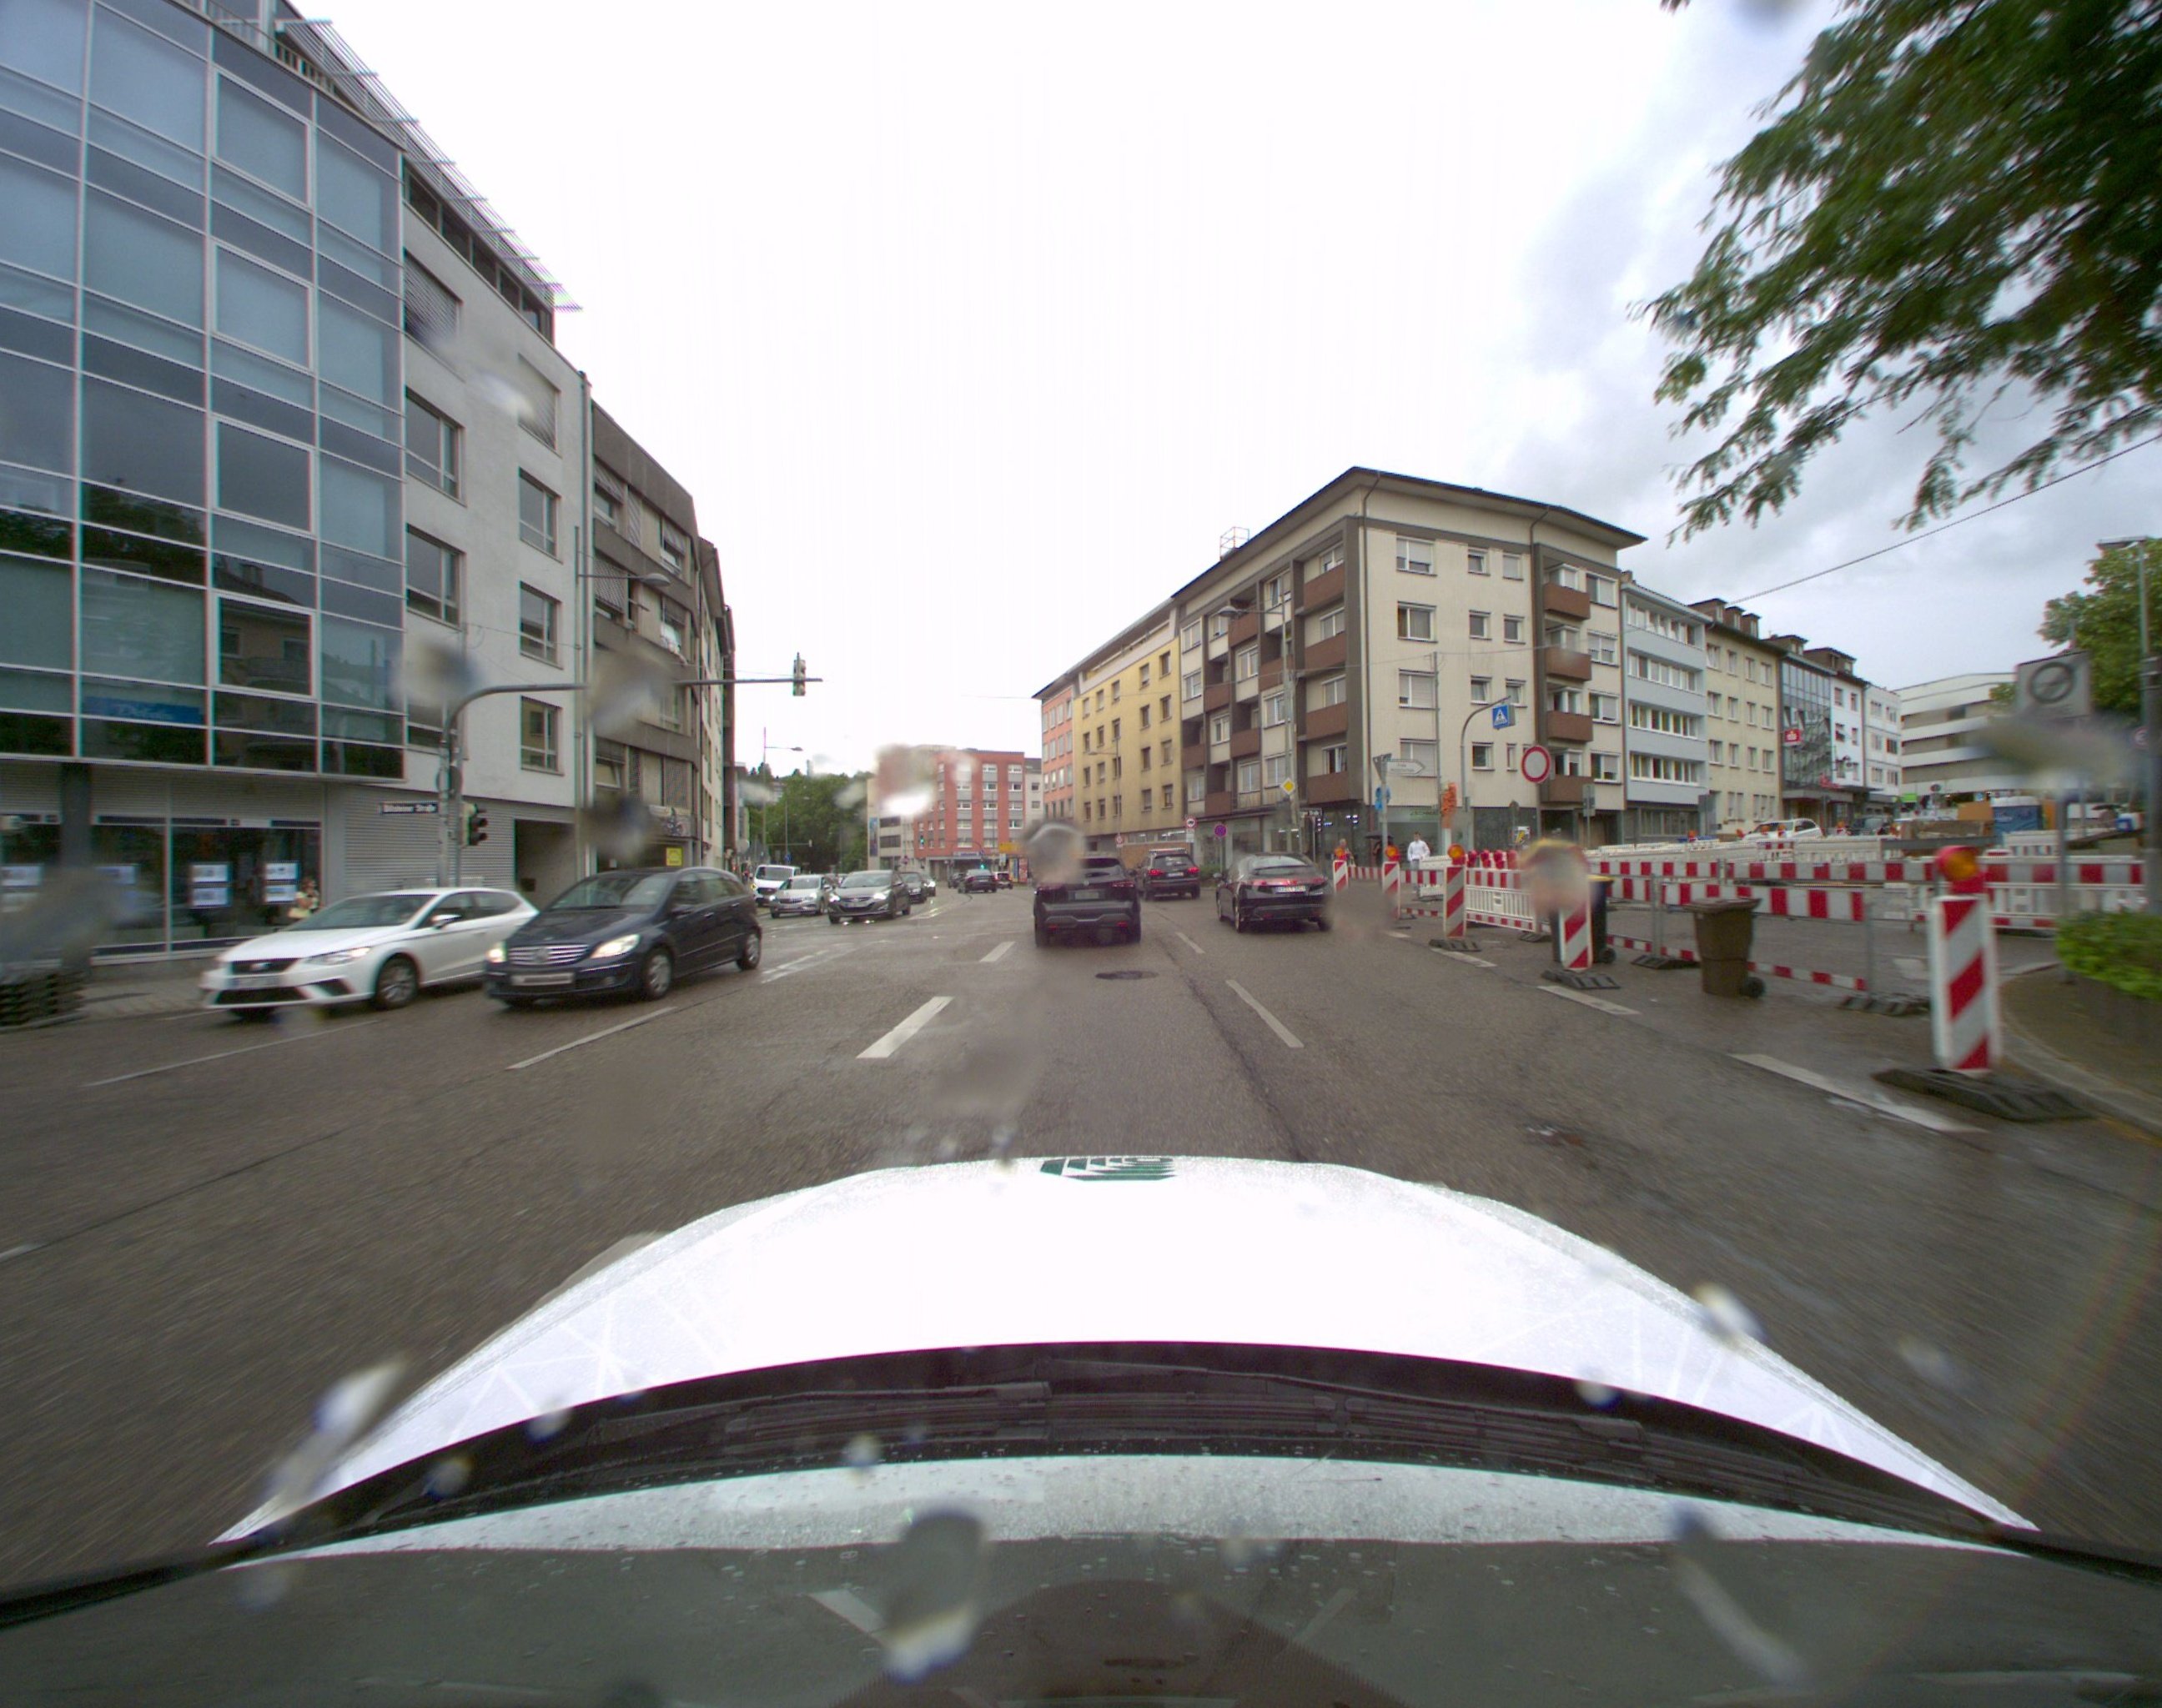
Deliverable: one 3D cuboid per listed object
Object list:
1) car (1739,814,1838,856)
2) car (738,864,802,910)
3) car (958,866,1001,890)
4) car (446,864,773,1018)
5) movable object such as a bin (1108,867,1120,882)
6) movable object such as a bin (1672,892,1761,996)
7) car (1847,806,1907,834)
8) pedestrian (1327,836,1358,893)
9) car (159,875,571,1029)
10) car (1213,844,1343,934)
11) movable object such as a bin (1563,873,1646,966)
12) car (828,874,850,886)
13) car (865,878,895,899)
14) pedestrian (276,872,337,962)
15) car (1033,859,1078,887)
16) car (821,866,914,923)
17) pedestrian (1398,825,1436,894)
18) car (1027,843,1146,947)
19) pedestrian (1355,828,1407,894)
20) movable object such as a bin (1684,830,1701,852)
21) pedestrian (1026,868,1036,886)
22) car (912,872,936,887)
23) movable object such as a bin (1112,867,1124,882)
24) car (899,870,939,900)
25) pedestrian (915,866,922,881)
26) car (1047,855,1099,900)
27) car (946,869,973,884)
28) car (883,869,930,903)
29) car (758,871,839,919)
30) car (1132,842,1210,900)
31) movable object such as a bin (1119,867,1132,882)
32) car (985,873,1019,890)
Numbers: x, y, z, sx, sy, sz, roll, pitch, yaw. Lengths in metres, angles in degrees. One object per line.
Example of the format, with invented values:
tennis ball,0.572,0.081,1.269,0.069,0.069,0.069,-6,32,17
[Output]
car,34.124,-0.921,39.259,4.811,1.720,1.981,-3,-1,-29
car,-14.592,1.557,38.526,2.121,2.015,5.103,1,-3,-14
car,-6.198,1.422,49.216,1.997,1.388,4.477,1,-1,-14
car,-5.840,0.950,10.834,1.824,1.543,4.282,-2,0,0
movable object such as a bin,2.438,1.521,59.752,0.683,1.077,0.663,-1,-2,-22
movable object such as a bin,6.170,0.858,7.921,0.418,0.929,0.531,-3,1,-1
car,50.509,-2.140,51.684,4.016,1.603,1.907,-3,1,-34
pedestrian,7.969,0.329,24.856,0.786,1.688,0.824,-3,-3,15
car,-9.022,1.101,10.885,1.767,1.524,4.280,-2,-1,-2
car,3.752,0.626,16.193,1.776,1.497,4.060,-3,-1,3
movable object such as a bin,6.265,0.774,9.769,0.619,1.031,0.531,-3,1,-2
car,-32.113,3.492,108.208,1.946,1.527,4.096,-1,-2,-29
car,-15.859,2.667,64.118,1.690,1.473,3.971,-4,0,-21
pedestrian,-14.472,1.154,15.231,0.628,1.608,0.824,-2,-1,-31
car,-1.826,1.324,57.405,1.953,1.816,3.972,-3,-1,-20
car,-6.279,1.128,24.468,1.850,1.474,4.640,-2,-1,-5
pedestrian,9.602,0.160,23.278,0.649,1.880,1.000,-5,-3,38
car,0.089,0.701,15.218,1.888,1.629,3.999,-2,-1,0
pedestrian,8.749,0.208,23.756,0.924,1.861,1.019,-1,-3,-42
movable object such as a bin,29.871,-0.608,39.780,0.541,1.048,0.526,2,-2,-31
pedestrian,-4.924,2.265,80.305,0.675,1.788,1.088,0,-1,-19
car,-16.799,2.752,86.820,1.999,1.530,3.974,1,-1,-19
movable object such as a bin,2.682,1.501,59.121,0.683,1.077,0.663,-1,-2,-22
car,-9.208,1.714,46.183,1.986,1.459,4.464,-3,-1,-14
pedestrian,-23.933,2.872,120.070,0.829,2.158,0.764,1,-2,-23
car,-0.417,0.963,34.669,1.942,1.685,3.995,-3,-1,-3
car,-12.667,2.300,84.840,2.000,1.519,3.973,1,-1,-20
car,-7.868,1.439,37.027,1.825,1.366,4.587,-3,-1,-10
car,-10.350,1.451,30.212,1.928,1.474,4.589,-4,-1,-8
car,3.189,0.611,29.952,2.017,1.869,4.893,-3,-1,-3
movable object such as a bin,3.174,1.458,57.848,0.683,1.077,0.663,-1,-2,-22
car,-7.020,2.396,71.647,2.001,1.486,3.972,1,-1,-21
